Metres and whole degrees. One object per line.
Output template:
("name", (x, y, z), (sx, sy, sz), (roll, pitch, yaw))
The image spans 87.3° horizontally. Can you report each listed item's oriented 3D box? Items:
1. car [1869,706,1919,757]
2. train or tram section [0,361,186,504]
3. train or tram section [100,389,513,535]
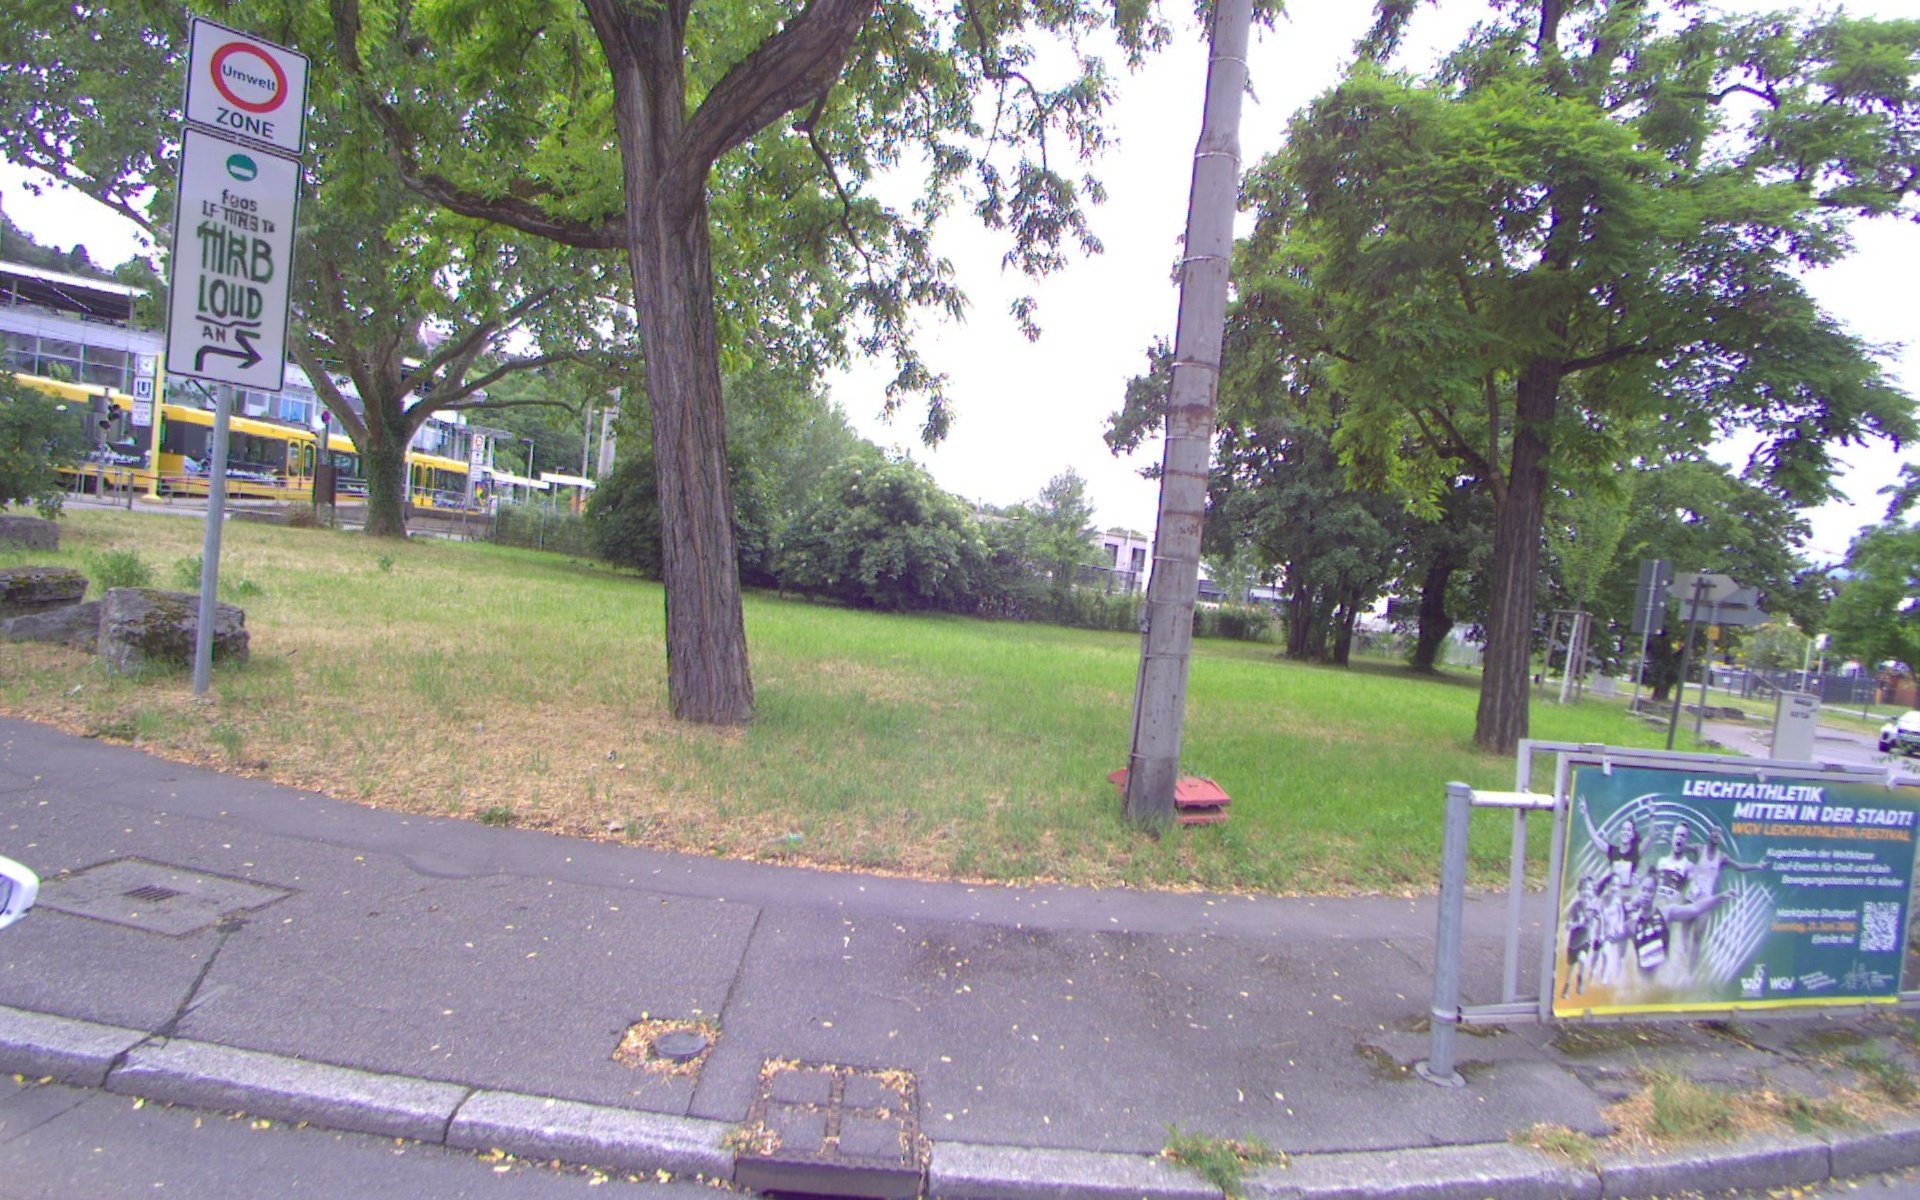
("car", (33.897, 4.658, 35.231), (3.900, 1.555, 2.031), (5, 0, -33))
("train or tram section", (-30.951, -5.453, 26.560), (3.215, 3.713, 19.168), (7, 2, 11))
("train or tram section", (-27.626, -5.556, 45.378), (3.215, 3.713, 19.168), (7, 2, 10))
